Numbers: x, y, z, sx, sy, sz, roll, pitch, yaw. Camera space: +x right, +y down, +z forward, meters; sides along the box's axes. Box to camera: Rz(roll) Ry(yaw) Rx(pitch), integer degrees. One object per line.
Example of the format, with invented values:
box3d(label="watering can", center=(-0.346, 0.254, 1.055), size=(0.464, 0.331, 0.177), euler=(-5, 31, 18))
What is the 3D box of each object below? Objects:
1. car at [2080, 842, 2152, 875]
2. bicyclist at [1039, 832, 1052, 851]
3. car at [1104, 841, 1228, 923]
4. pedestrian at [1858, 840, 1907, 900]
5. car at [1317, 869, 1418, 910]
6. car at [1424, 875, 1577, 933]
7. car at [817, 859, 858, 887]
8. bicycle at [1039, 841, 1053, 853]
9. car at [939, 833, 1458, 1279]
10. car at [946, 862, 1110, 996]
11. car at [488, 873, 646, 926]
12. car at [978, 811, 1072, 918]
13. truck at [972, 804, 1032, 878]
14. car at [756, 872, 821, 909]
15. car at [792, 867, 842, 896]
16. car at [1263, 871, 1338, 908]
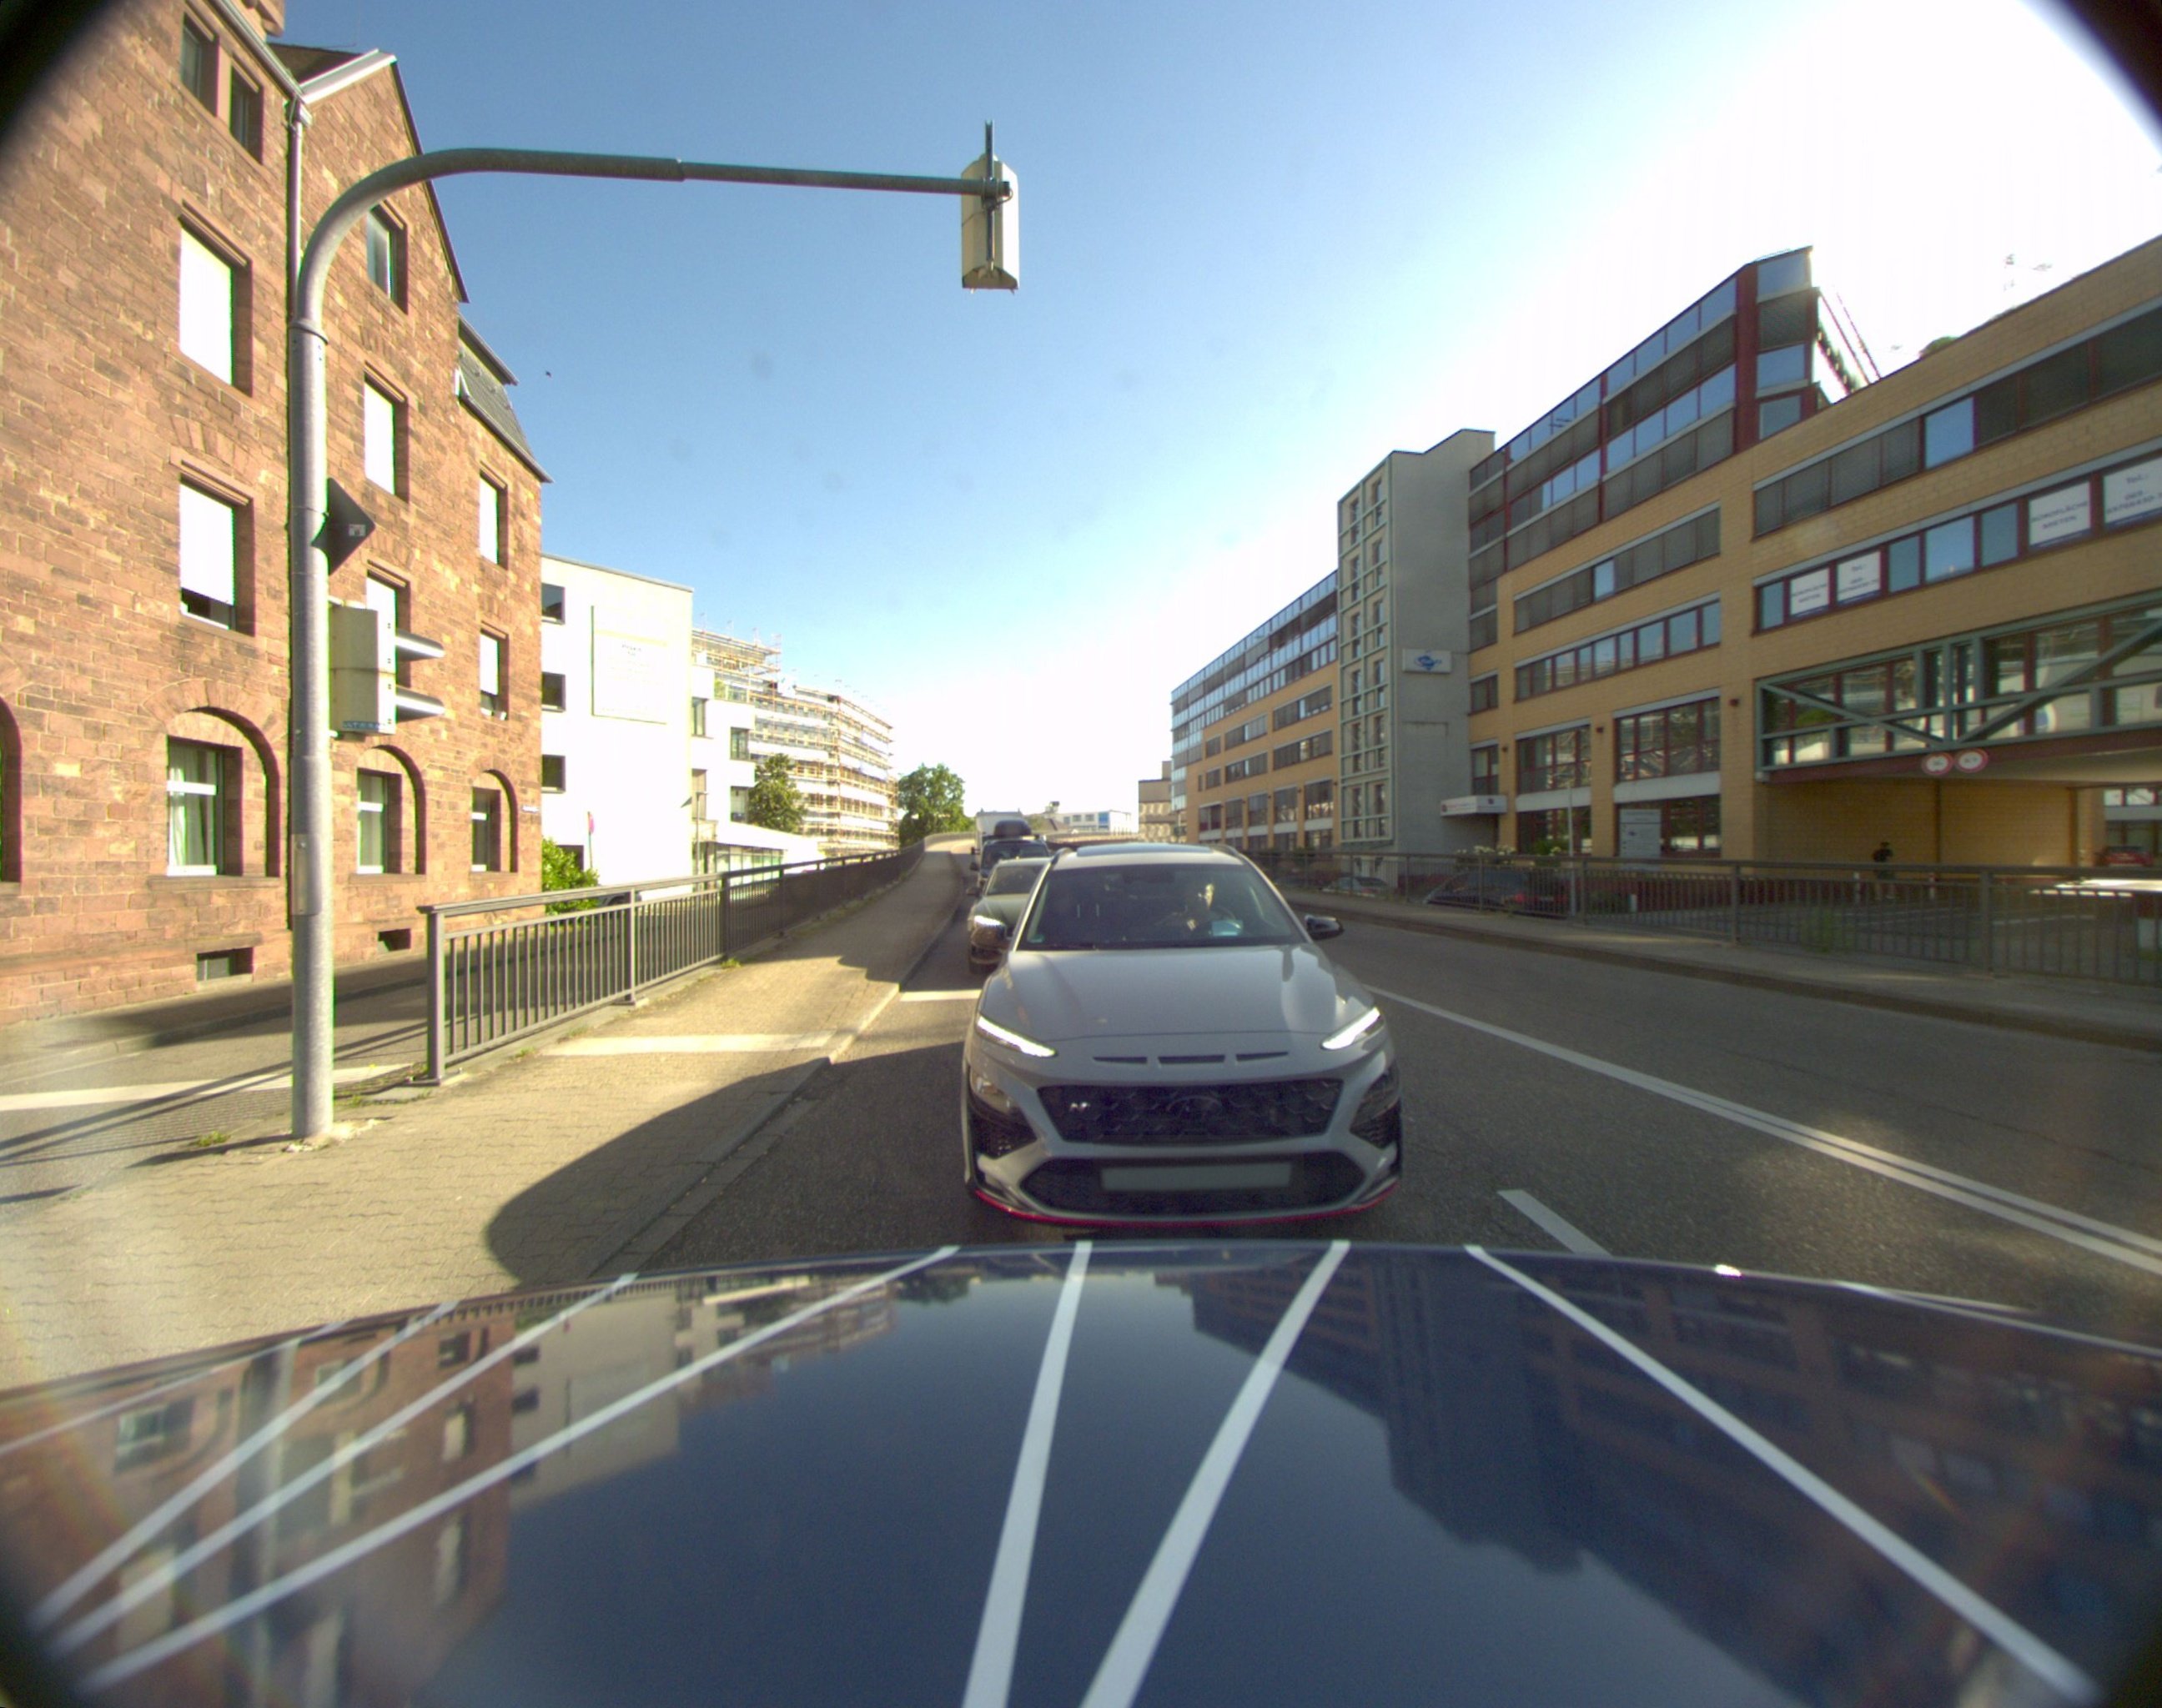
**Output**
box3d(label="car", center=(54.006, 0.226, 39.703), size=(4.007, 1.512, 1.763), euler=(-3, 1, -43))
box3d(label="bicyclist", center=(-3.720, -1.302, 79.525), size=(1.083, 1.861, 1.083), euler=(-2, 1, -9))
box3d(label="car", center=(1.846, 0.599, 17.948), size=(1.880, 1.699, 4.194), euler=(0, -1, -9))
box3d(label="pedestrian", center=(25.108, 0.490, 23.797), size=(0.747, 1.840, 0.705), euler=(-2, 0, -5))
box3d(label="car", center=(11.398, 1.374, 30.575), size=(1.881, 1.514, 4.157), euler=(0, -1, -11))
box3d(label="car", center=(12.435, 1.410, 22.855), size=(1.639, 1.514, 4.156), euler=(0, -1, -14))
box3d(label="car", center=(-15.820, 1.221, 49.469), size=(2.054, 1.676, 4.089), euler=(-1, -1, -11))
box3d(label="bicycle", center=(-3.672, -0.740, 79.395), size=(1.083, 1.223, 2.781), euler=(-2, 1, -9))
box3d(label="car", center=(0.494, 0.747, 4.869), size=(1.878, 1.612, 4.197), euler=(0, 0, 2))
box3d(label="car", center=(-0.777, 0.885, 11.122), size=(1.879, 1.462, 4.633), euler=(0, 0, -4))
box3d(label="car", center=(-17.067, 1.440, 25.337), size=(4.101, 1.522, 1.914), euler=(0, -1, -44))
box3d(label="car", center=(-1.399, 0.247, 18.415), size=(1.951, 2.248, 4.783), euler=(0, -1, -5))
box3d(label="truck", center=(-3.745, -0.506, 35.595), size=(2.504, 3.109, 6.956), euler=(-1, -1, -7))
box3d(label="car", center=(-13.375, 1.619, 35.003), size=(2.054, 1.522, 4.089), euler=(-1, -1, -11))
box3d(label="car", center=(-14.588, 1.490, 42.243), size=(2.054, 1.522, 4.089), euler=(-1, -1, -11))
box3d(label="car", center=(10.241, 1.616, 35.813), size=(1.885, 1.554, 3.997), euler=(0, -1, -9))
